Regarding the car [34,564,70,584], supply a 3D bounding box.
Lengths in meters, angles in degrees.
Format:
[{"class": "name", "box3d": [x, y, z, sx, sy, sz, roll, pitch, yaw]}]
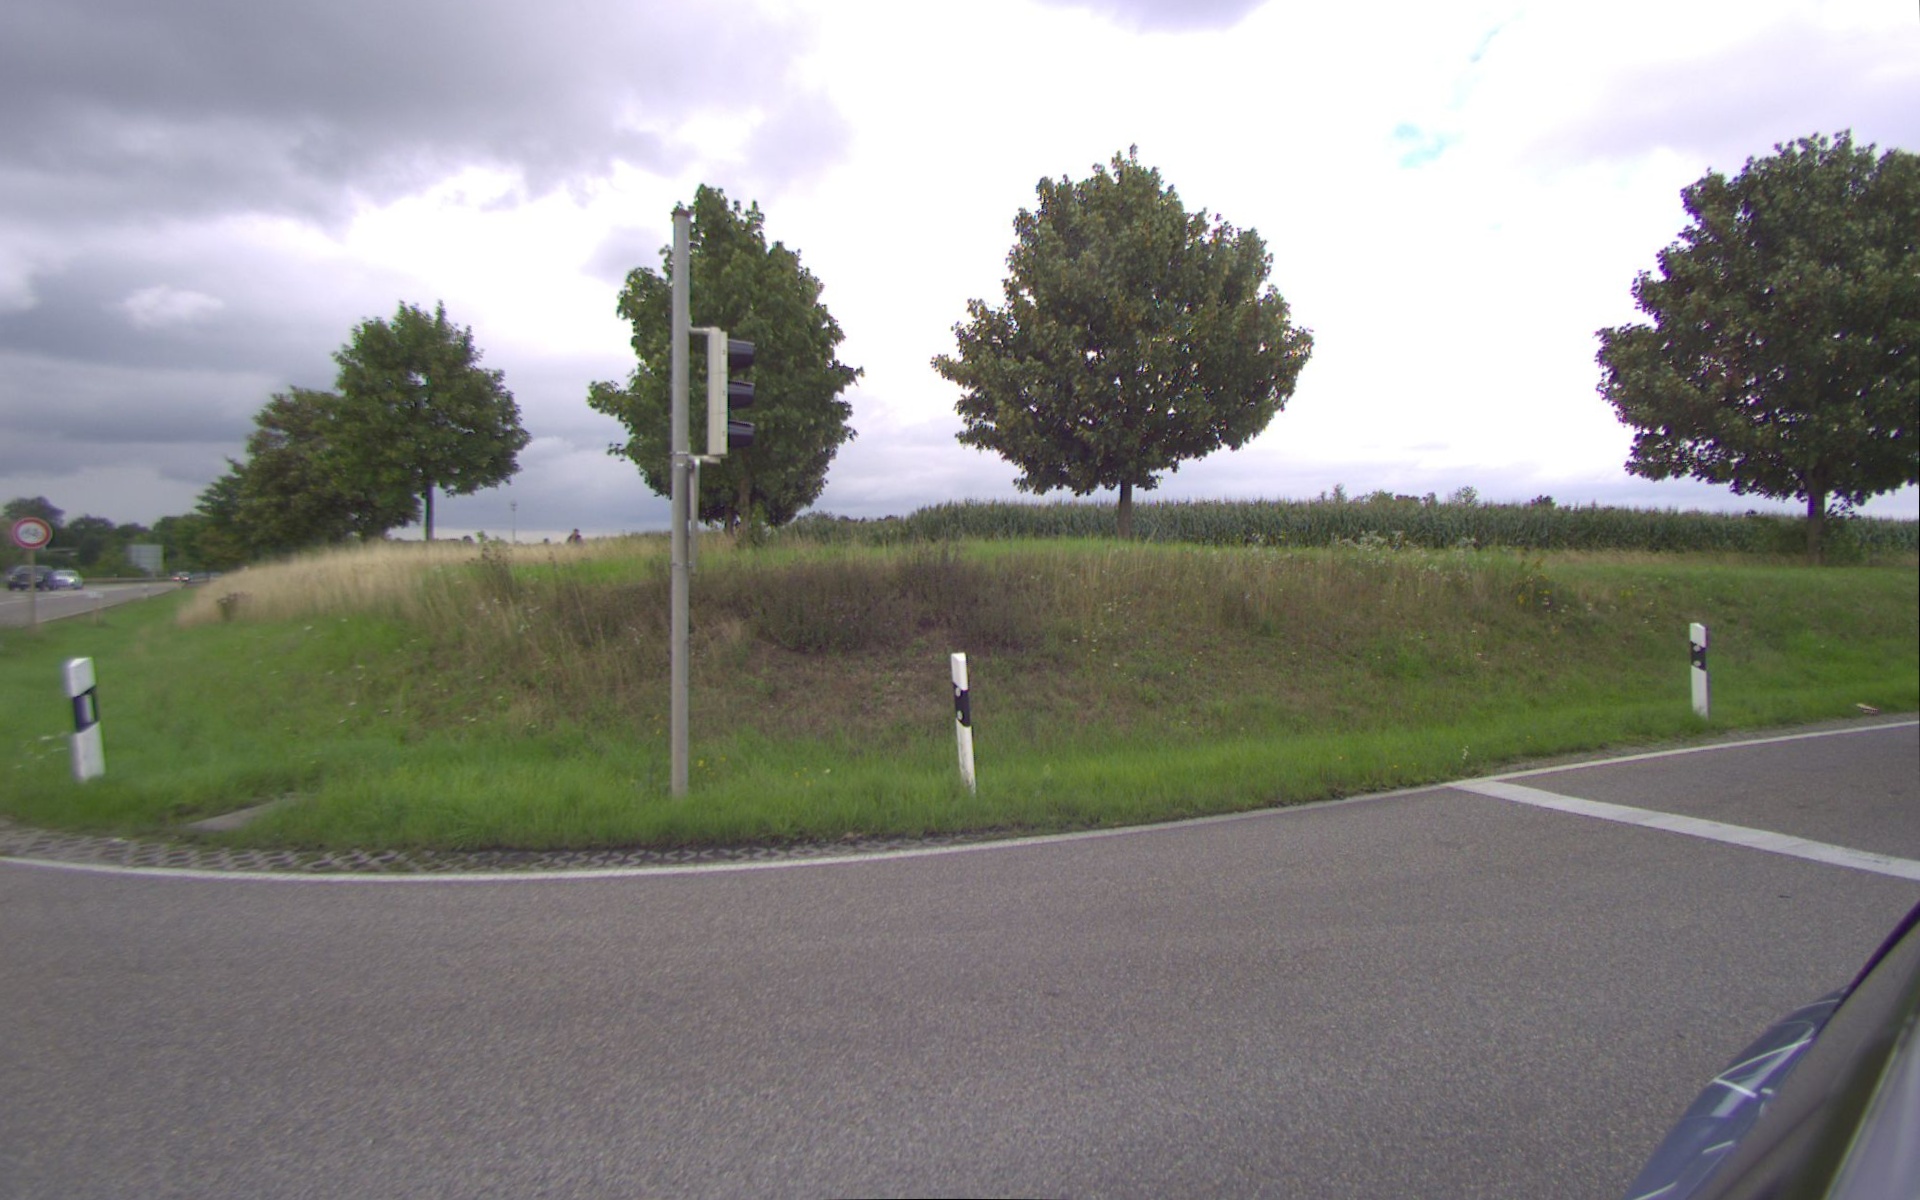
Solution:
[{"class": "car", "box3d": [-76.976, -2.168, 85.816, 2.132, 1.616, 4.749, 1, 1, -40]}]

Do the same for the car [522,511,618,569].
[{"class": "car", "box3d": [-14.750, -2.217, 38.194, 1.968, 2.038, 3.989, -2, 2, -44]}]

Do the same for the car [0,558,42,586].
[{"class": "car", "box3d": [-70.363, -2.098, 75.627, 2.129, 2.039, 4.527, 1, 1, -36]}]
